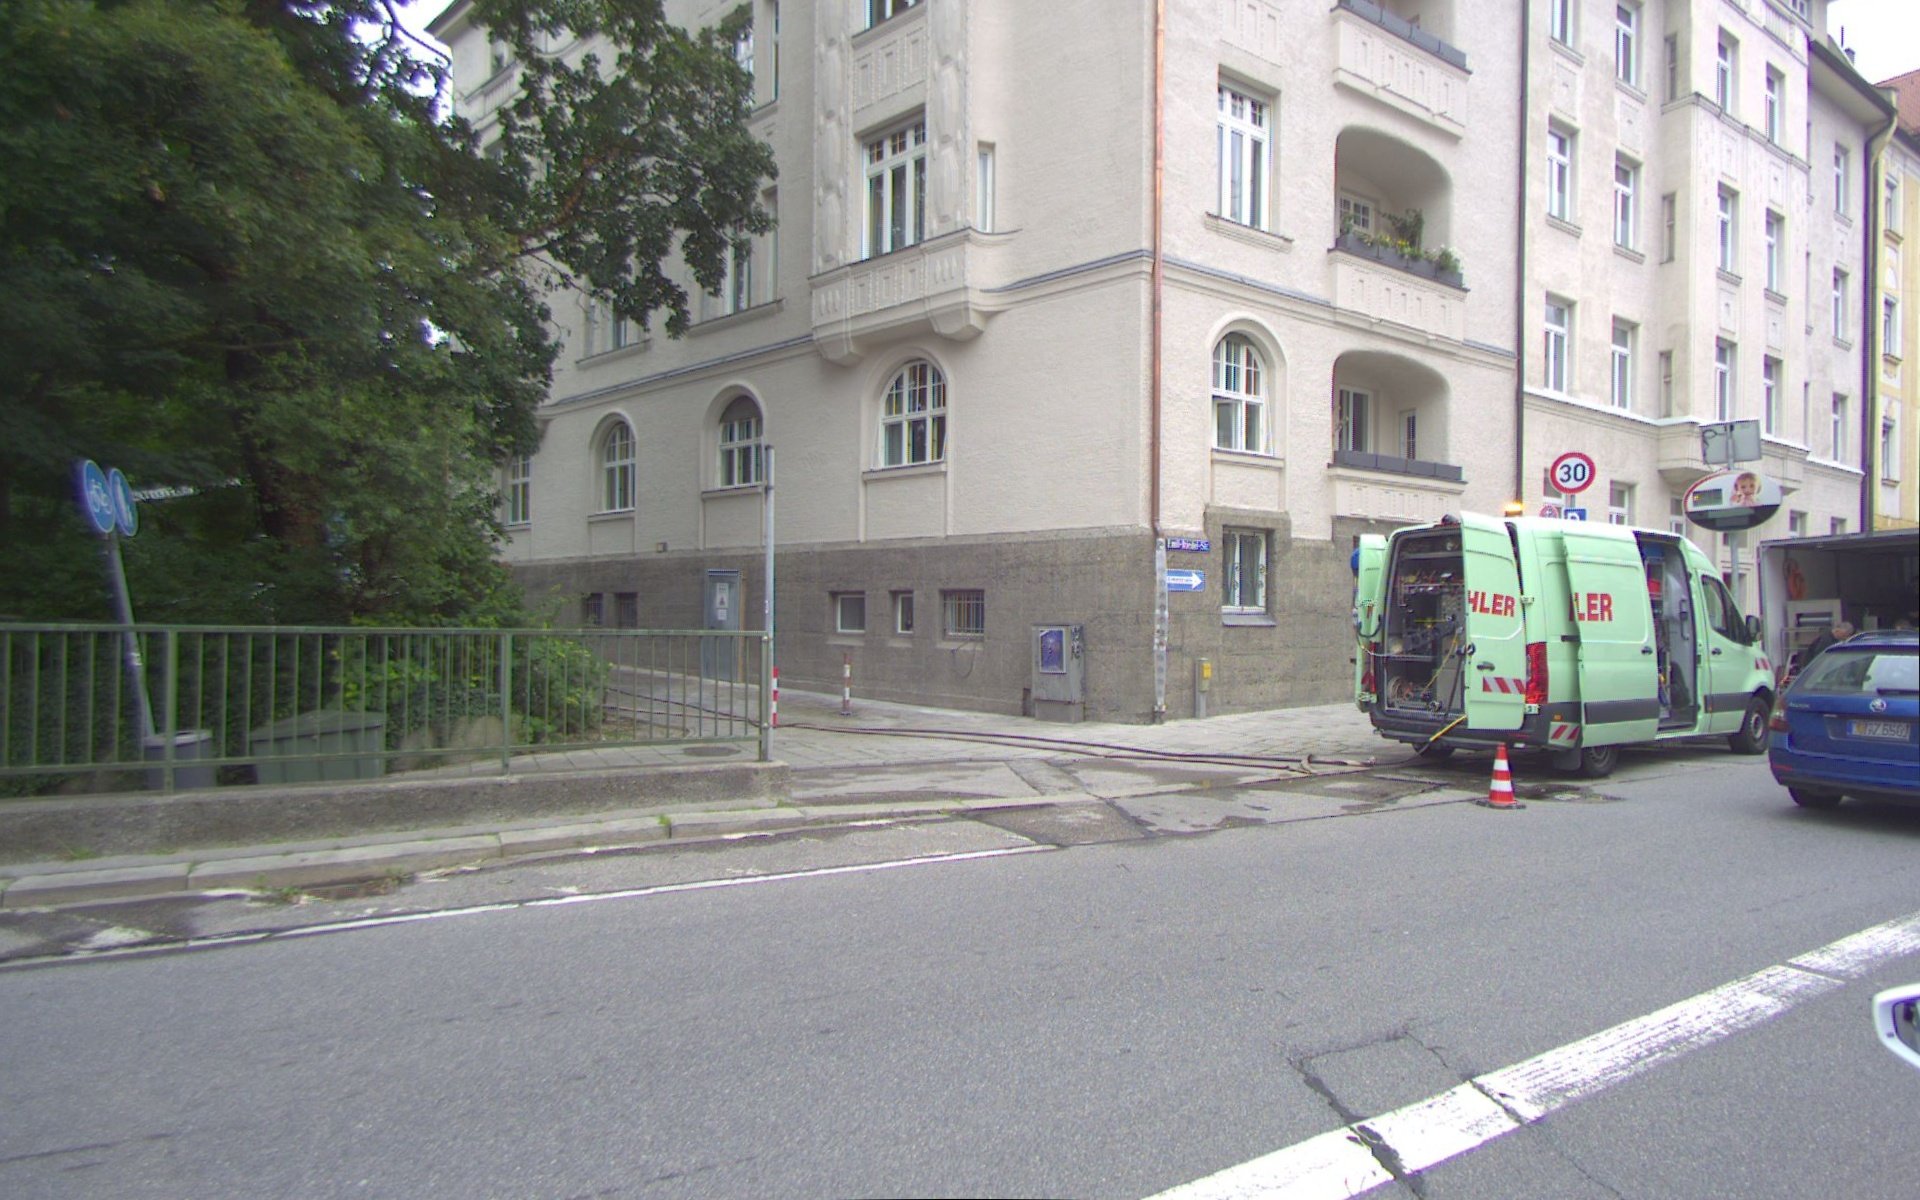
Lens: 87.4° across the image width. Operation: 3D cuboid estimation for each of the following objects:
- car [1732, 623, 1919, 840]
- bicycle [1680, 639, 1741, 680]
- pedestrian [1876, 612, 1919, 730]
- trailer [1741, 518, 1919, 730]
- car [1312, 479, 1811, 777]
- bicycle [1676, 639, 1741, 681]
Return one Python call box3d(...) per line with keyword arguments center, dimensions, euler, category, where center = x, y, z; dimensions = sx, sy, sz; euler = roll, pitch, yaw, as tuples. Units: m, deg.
box3d(center=(8.356, 0.947, 8.128), dimensions=(4.260, 1.479, 1.782), euler=(1, -1, -28), category="car")
box3d(center=(17.942, 1.416, 24.002), dimensions=(1.735, 0.927, 0.413), euler=(2, 2, -28), category="bicycle")
box3d(center=(13.616, 1.003, 14.327), dimensions=(0.752, 1.652, 0.634), euler=(-1, -2, 38), category="pedestrian")
box3d(center=(16.519, 0.405, 16.818), dimensions=(7.511, 3.007, 2.791), euler=(0, -4, -31), category="trailer")
box3d(center=(7.103, 0.298, 11.485), dimensions=(6.719, 2.606, 2.129), euler=(1, -1, -32), category="car")
box3d(center=(17.364, 1.400, 23.307), dimensions=(1.565, 0.927, 0.394), euler=(2, 2, -21), category="bicycle")
